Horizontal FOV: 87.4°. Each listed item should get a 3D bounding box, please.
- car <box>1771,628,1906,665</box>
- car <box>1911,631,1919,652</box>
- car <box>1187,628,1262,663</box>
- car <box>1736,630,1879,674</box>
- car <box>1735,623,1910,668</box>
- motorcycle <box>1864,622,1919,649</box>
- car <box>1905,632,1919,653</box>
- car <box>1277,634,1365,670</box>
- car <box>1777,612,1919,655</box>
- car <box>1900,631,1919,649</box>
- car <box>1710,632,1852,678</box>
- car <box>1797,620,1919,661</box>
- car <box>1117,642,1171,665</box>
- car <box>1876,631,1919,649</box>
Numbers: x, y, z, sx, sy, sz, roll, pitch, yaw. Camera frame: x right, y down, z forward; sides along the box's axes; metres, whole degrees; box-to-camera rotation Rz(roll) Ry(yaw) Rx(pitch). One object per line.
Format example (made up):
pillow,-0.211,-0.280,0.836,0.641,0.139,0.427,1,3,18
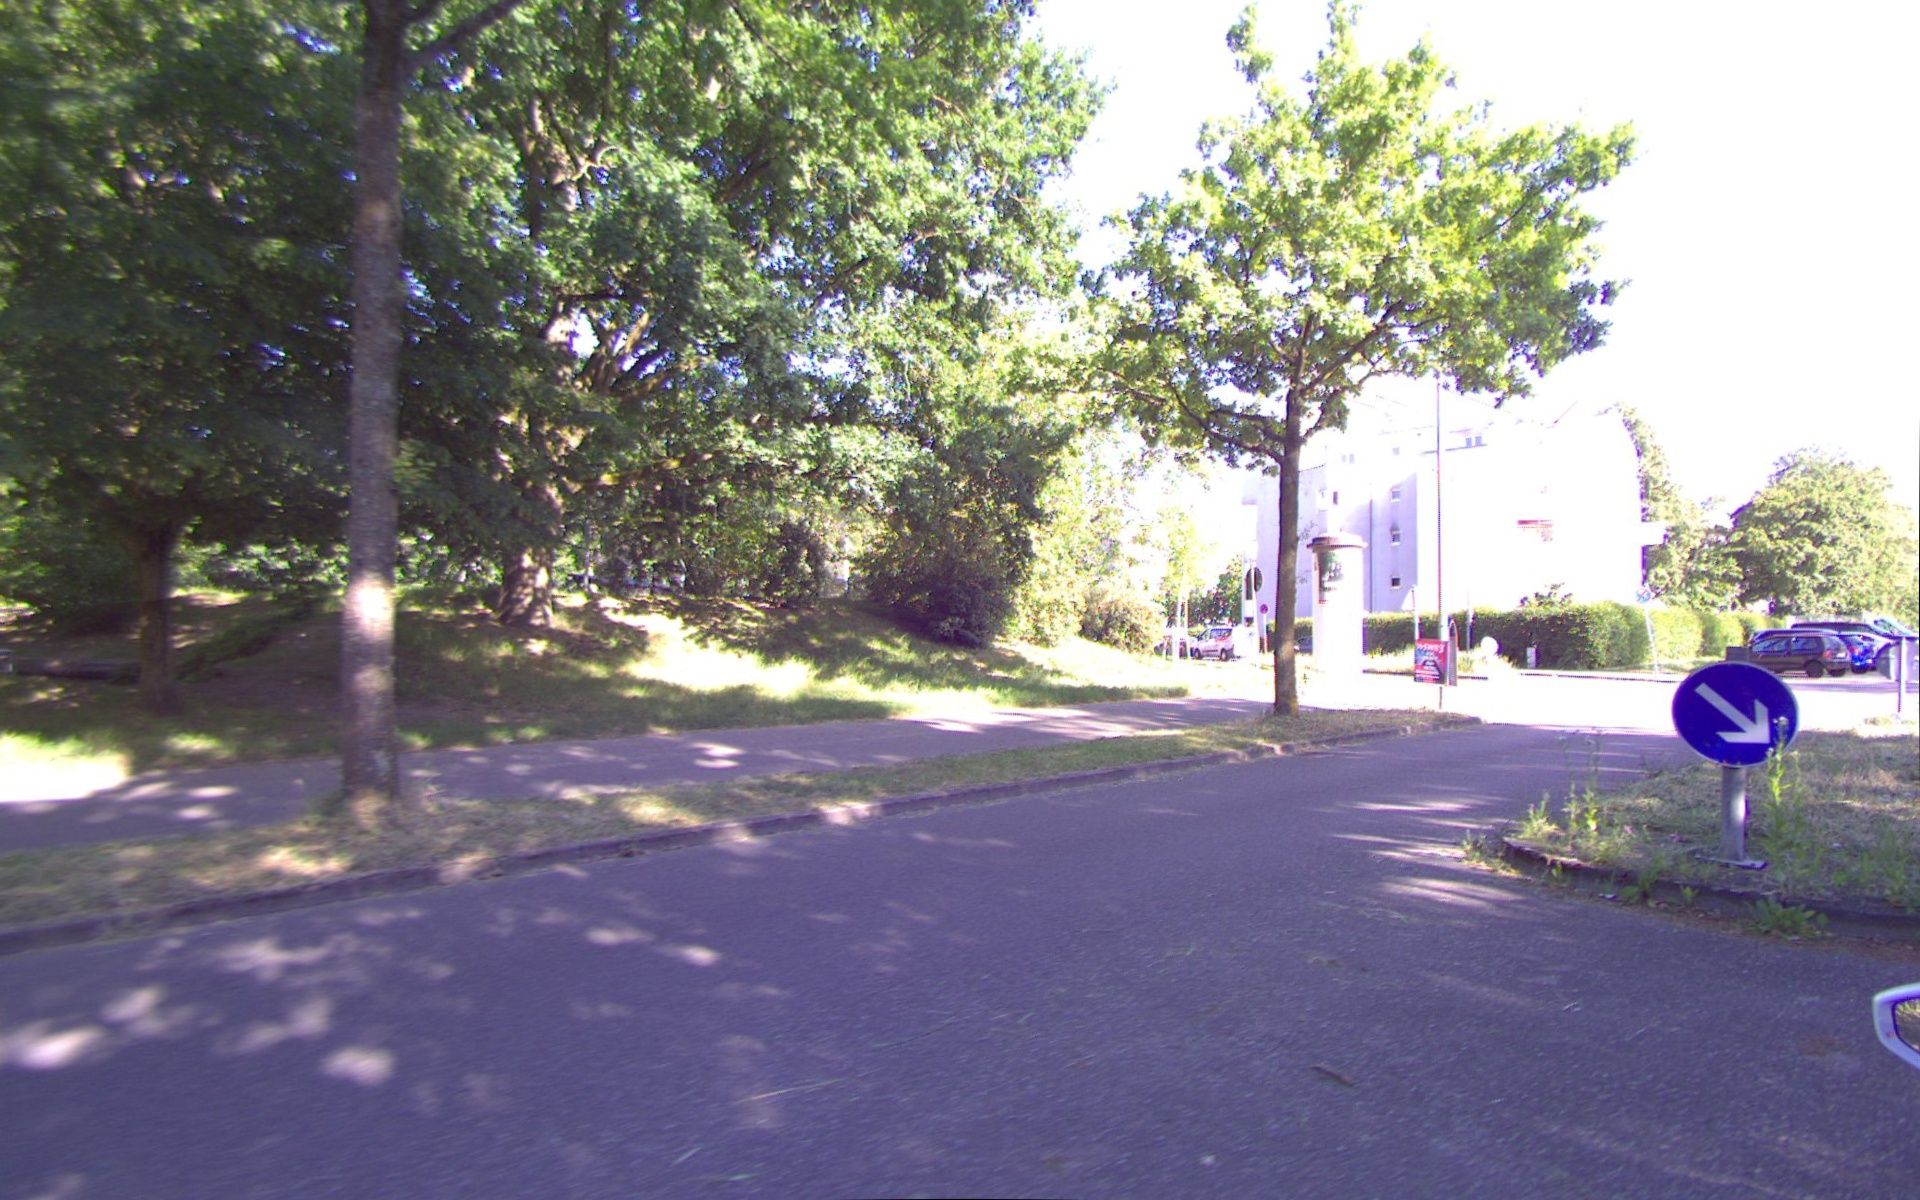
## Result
car,36.911,1.973,42.288,1.608,1.473,4.105,2,-4,-43
car,64.505,2.713,65.216,1.833,1.351,3.905,1,-2,-42
car,15.496,2.681,59.124,1.968,1.937,4.935,1,-3,-18
car,31.147,1.914,37.028,1.630,1.516,3.666,0,-3,-28
car,33.969,1.800,39.704,1.767,1.676,4.959,0,-3,-35
motorcycle,56.905,2.168,60.797,0.915,1.617,3.165,1,-2,-39
car,62.464,2.662,63.434,1.833,1.351,3.905,1,-2,-42
car,17.512,2.495,48.892,1.855,1.664,4.058,1,-3,-20
car,47.329,1.772,53.041,2.394,2.175,6.198,1,-2,-43
car,76.242,3.120,78.509,1.833,1.351,3.905,1,-2,-42
car,29.008,1.908,35.591,1.680,1.486,3.513,0,-1,-24
car,41.638,1.867,46.220,1.829,1.794,4.492,1,-2,-36
car,12.635,3.653,69.206,1.884,1.508,4.361,1,-3,-16
car,73.102,3.064,77.109,1.833,1.351,3.905,1,-2,-42
